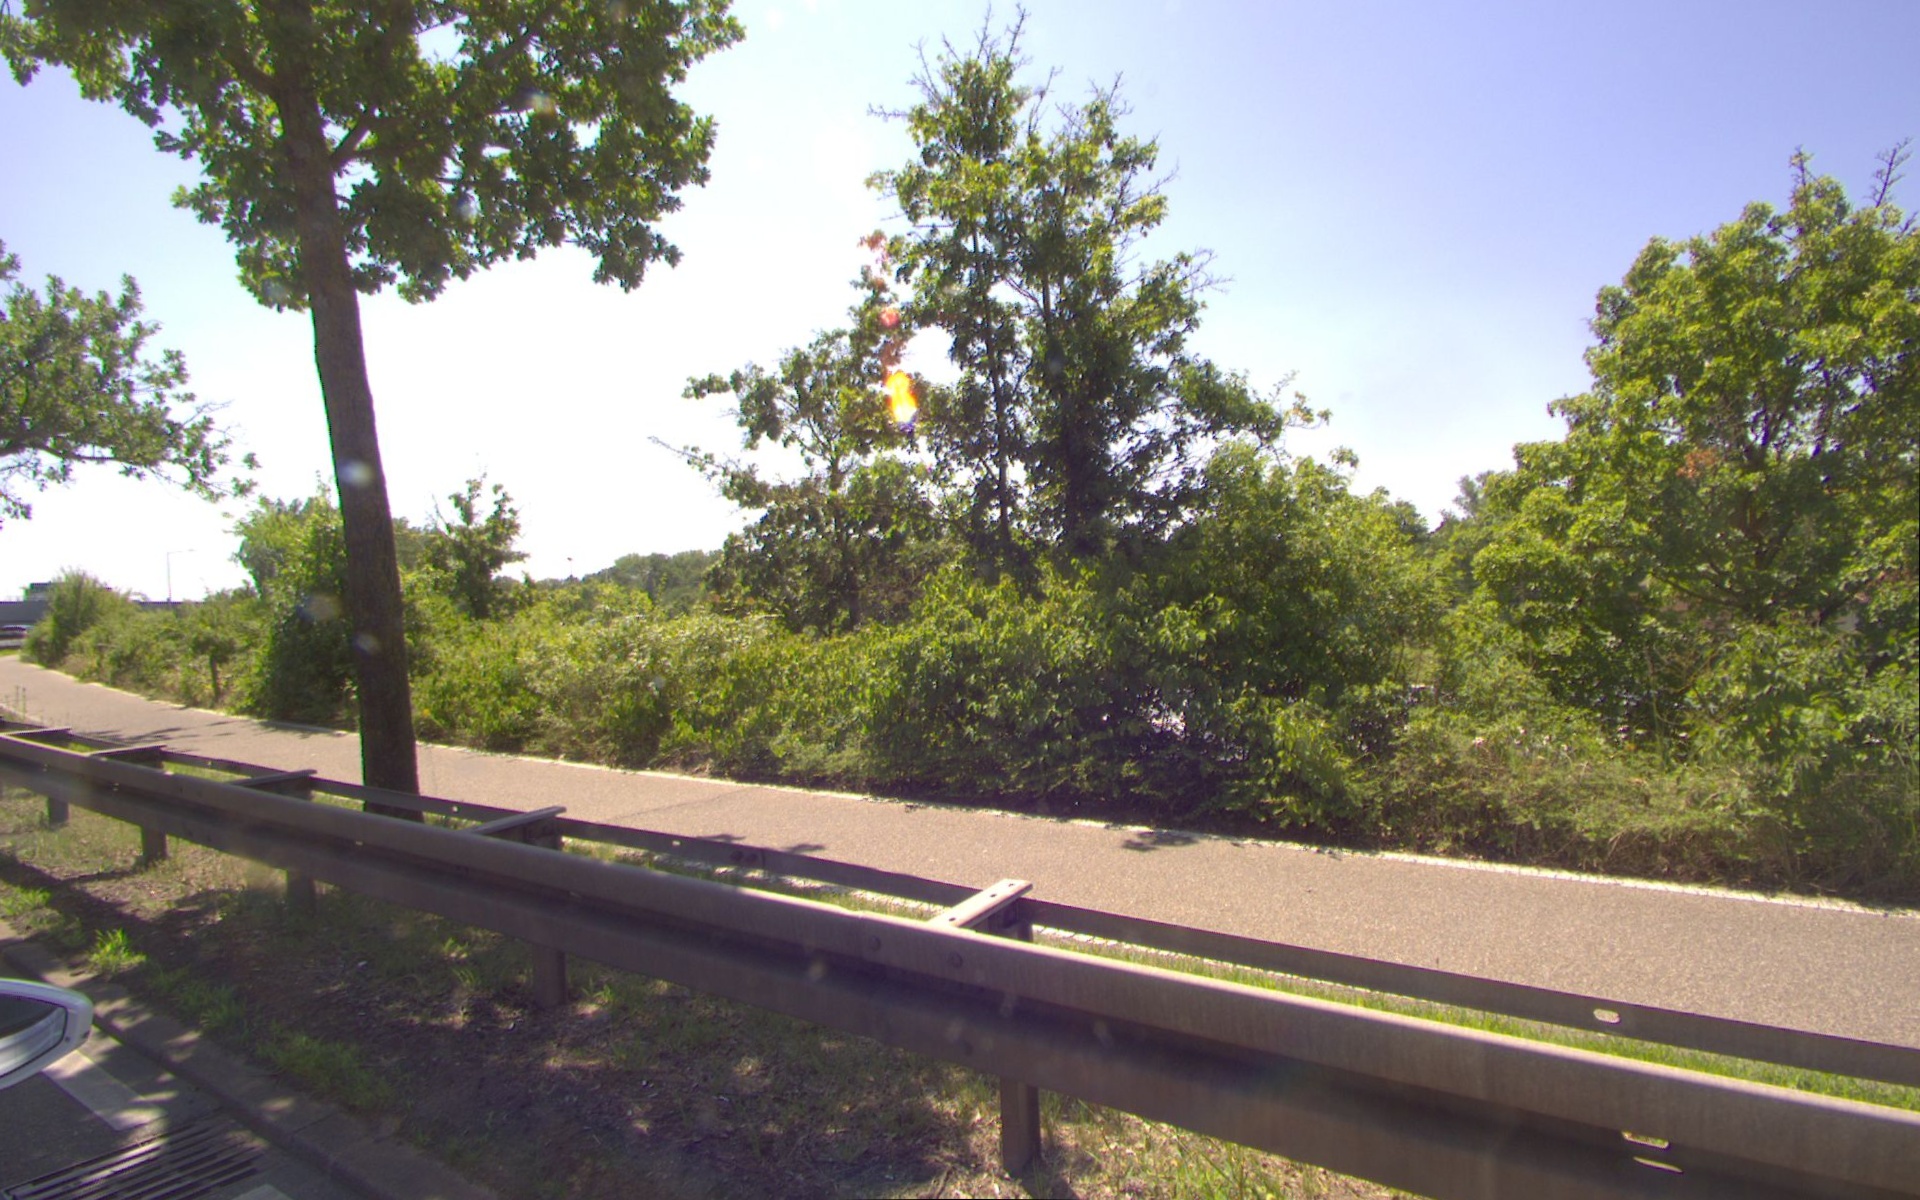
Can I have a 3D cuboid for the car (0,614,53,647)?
[{"bbox_3d":[-51.862,1.675,55.217,1.973,1.739,4.840,1,-2,-33],"label":"car"}]
